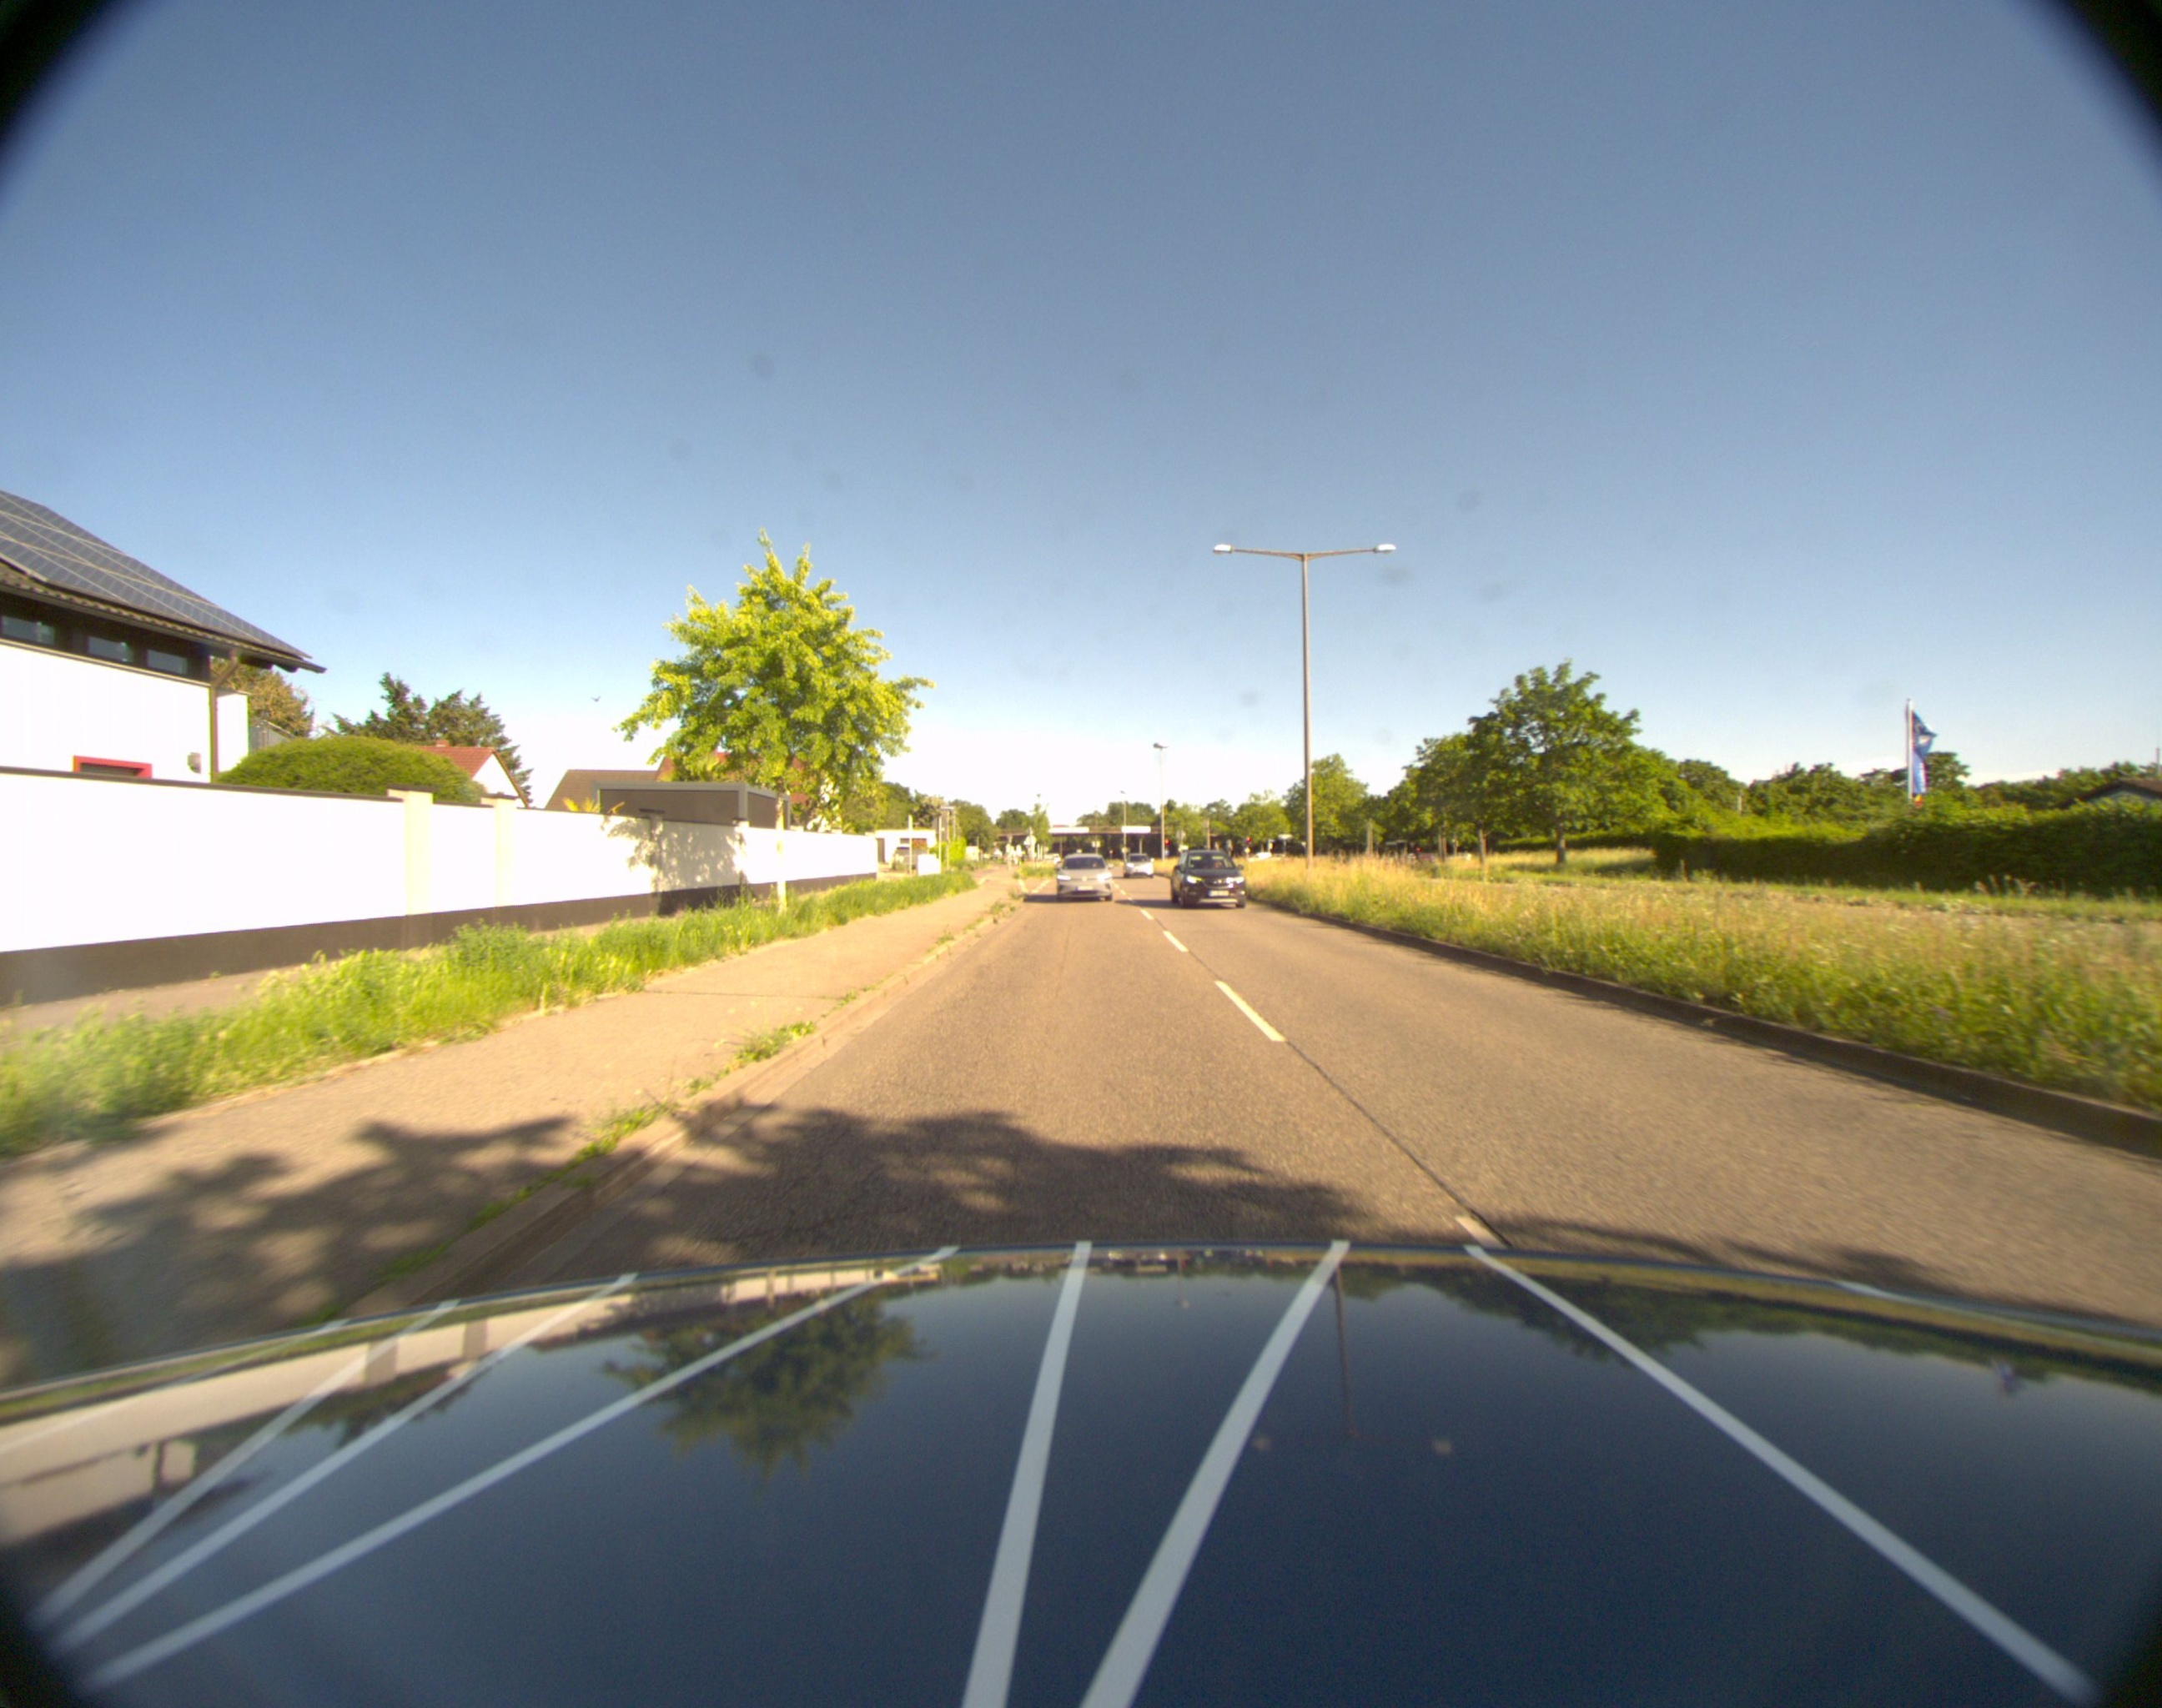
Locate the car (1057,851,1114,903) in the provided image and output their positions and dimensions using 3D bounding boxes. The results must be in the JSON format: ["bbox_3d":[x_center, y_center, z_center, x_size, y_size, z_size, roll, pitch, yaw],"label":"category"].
[{"bbox_3d":[0.201,0.750,26.797,1.801,1.664,4.239,-1,0,1],"label":"car"}]

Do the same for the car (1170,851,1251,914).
[{"bbox_3d":[3.696,0.755,22.291,1.714,1.653,3.856,0,0,0],"label":"car"}]

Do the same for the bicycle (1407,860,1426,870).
[{"bbox_3d":[25.127,0.795,56.869,0.566,0.691,1.874,-1,0,-2],"label":"bicycle"}]

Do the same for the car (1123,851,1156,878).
[{"bbox_3d":[3.816,0.653,49.878,1.830,1.604,4.092,-1,0,0],"label":"car"}]

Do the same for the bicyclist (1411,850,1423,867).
[{"bbox_3d":[25.125,0.308,56.853,0.584,1.249,0.576,-1,1,-3],"label":"bicyclist"}]

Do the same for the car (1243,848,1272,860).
[{"bbox_3d":[27.347,-0.060,117.521,4.000,1.744,1.776,-1,1,-8],"label":"car"}]

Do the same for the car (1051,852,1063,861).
[{"bbox_3d":[-4.476,0.486,142.181,1.874,1.611,3.833,-1,0,-8],"label":"car"}]
